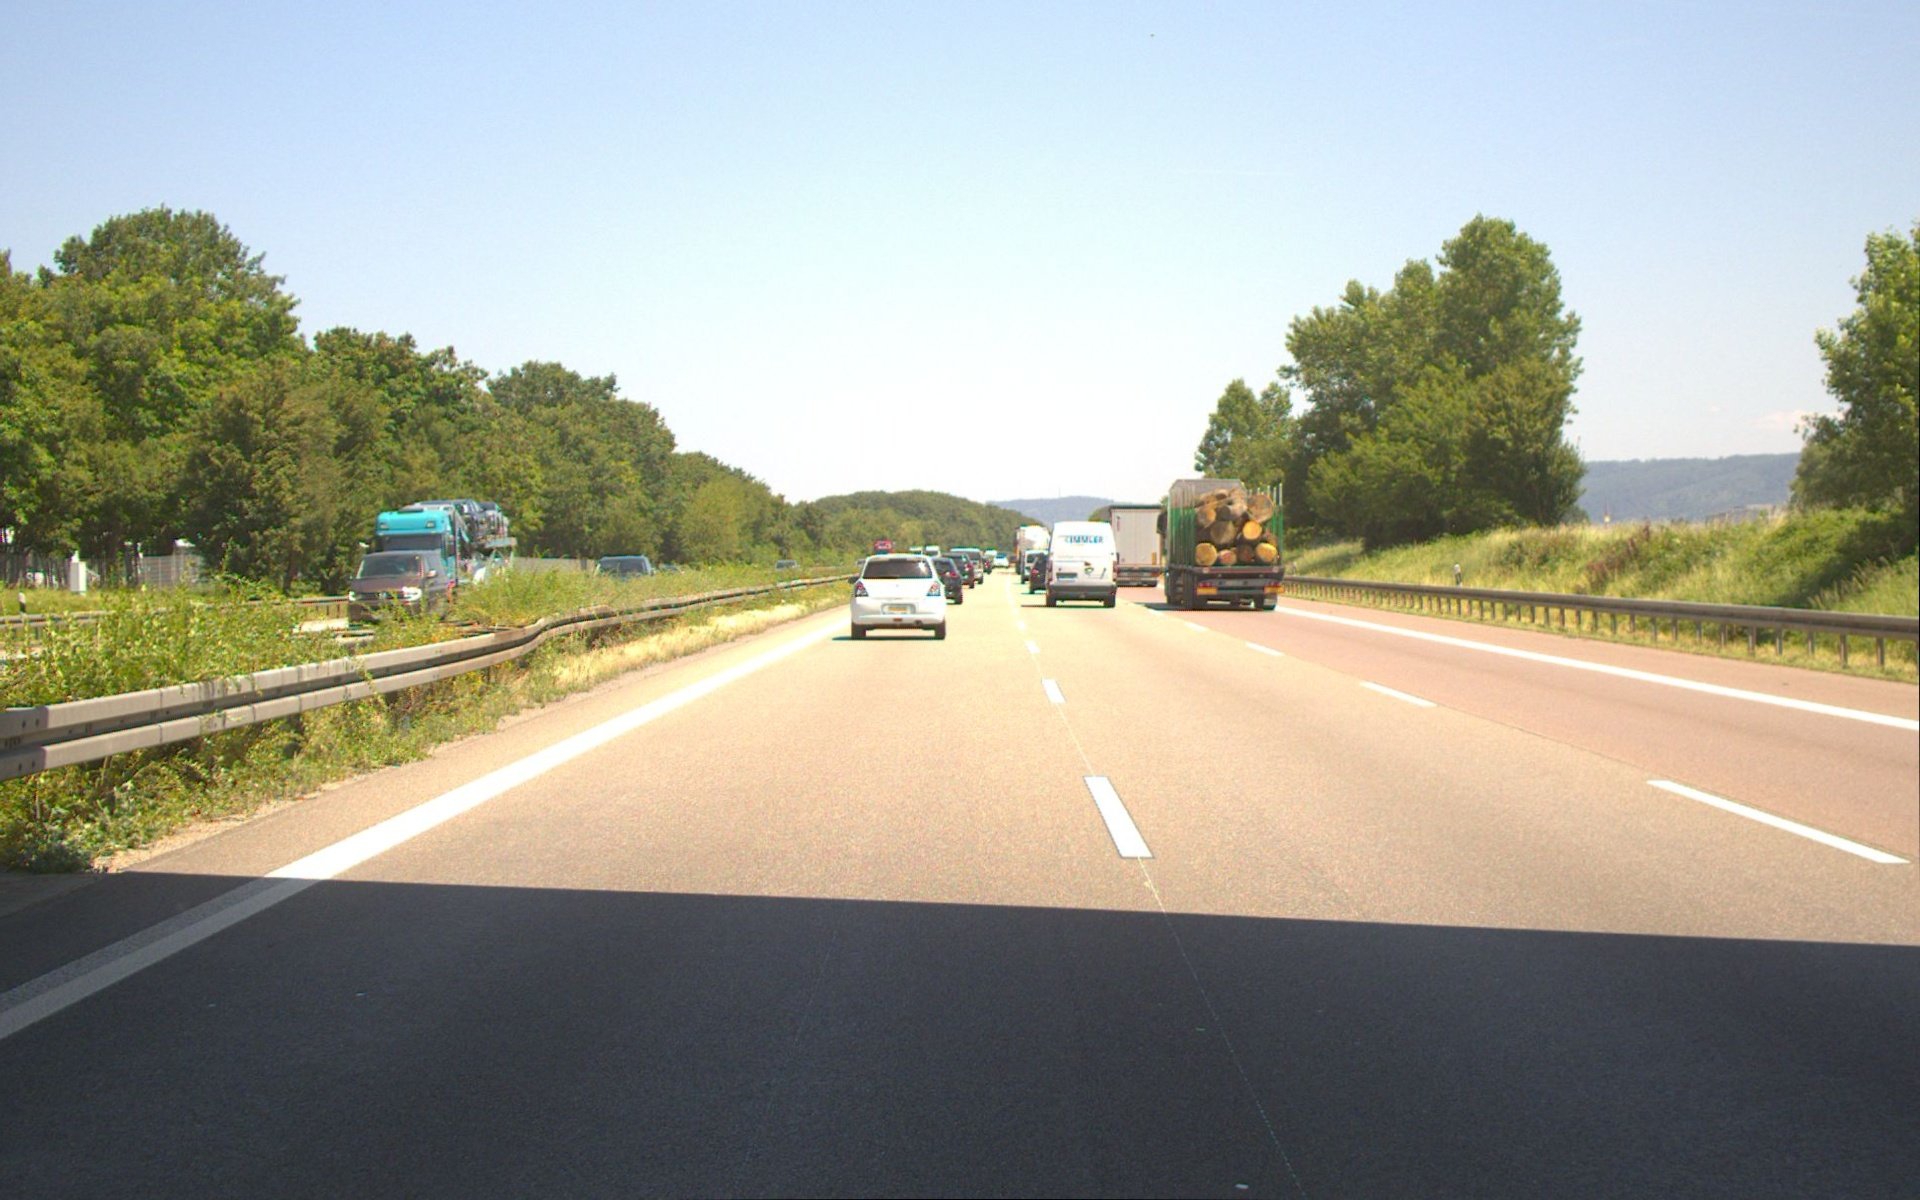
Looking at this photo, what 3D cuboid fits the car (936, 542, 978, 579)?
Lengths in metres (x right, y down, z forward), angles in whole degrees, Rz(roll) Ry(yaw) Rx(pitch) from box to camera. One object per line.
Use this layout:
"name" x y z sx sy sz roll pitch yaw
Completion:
"car" -0.143 -1.827 157.426 1.857 1.646 4.000 1 1 -1

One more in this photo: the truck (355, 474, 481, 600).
"truck" -18.291 -2.126 116.353 2.878 3.962 7.373 -3 1 0

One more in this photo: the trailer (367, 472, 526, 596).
"trailer" -18.201 -2.307 123.170 2.878 3.964 17.475 -3 1 0

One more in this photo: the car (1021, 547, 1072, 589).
"car" 3.423 -1.278 136.529 1.857 1.646 4.000 1 1 -1

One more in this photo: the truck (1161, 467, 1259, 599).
"truck" 7.809 -2.094 108.150 2.670 3.981 6.636 1 1 1

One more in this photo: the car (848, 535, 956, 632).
"car" -1.037 -0.318 62.101 1.857 1.646 4.000 1 1 -1

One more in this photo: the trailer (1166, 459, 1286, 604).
"trailer" 7.707 -1.982 101.022 2.653 3.945 13.636 1 1 1

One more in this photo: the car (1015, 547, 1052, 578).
"car" 3.962 -2.044 186.241 1.857 1.646 4.000 1 1 -1

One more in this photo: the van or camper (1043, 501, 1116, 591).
"van or camper" 3.528 -1.598 102.553 2.058 2.613 5.985 0 1 1

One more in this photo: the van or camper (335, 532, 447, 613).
"van or camper" -13.920 -0.678 84.325 1.993 1.863 4.456 -2 1 -1

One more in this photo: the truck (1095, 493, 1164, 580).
"truck" 8.636 -3.215 176.860 3.079 4.194 16.843 1 1 1
